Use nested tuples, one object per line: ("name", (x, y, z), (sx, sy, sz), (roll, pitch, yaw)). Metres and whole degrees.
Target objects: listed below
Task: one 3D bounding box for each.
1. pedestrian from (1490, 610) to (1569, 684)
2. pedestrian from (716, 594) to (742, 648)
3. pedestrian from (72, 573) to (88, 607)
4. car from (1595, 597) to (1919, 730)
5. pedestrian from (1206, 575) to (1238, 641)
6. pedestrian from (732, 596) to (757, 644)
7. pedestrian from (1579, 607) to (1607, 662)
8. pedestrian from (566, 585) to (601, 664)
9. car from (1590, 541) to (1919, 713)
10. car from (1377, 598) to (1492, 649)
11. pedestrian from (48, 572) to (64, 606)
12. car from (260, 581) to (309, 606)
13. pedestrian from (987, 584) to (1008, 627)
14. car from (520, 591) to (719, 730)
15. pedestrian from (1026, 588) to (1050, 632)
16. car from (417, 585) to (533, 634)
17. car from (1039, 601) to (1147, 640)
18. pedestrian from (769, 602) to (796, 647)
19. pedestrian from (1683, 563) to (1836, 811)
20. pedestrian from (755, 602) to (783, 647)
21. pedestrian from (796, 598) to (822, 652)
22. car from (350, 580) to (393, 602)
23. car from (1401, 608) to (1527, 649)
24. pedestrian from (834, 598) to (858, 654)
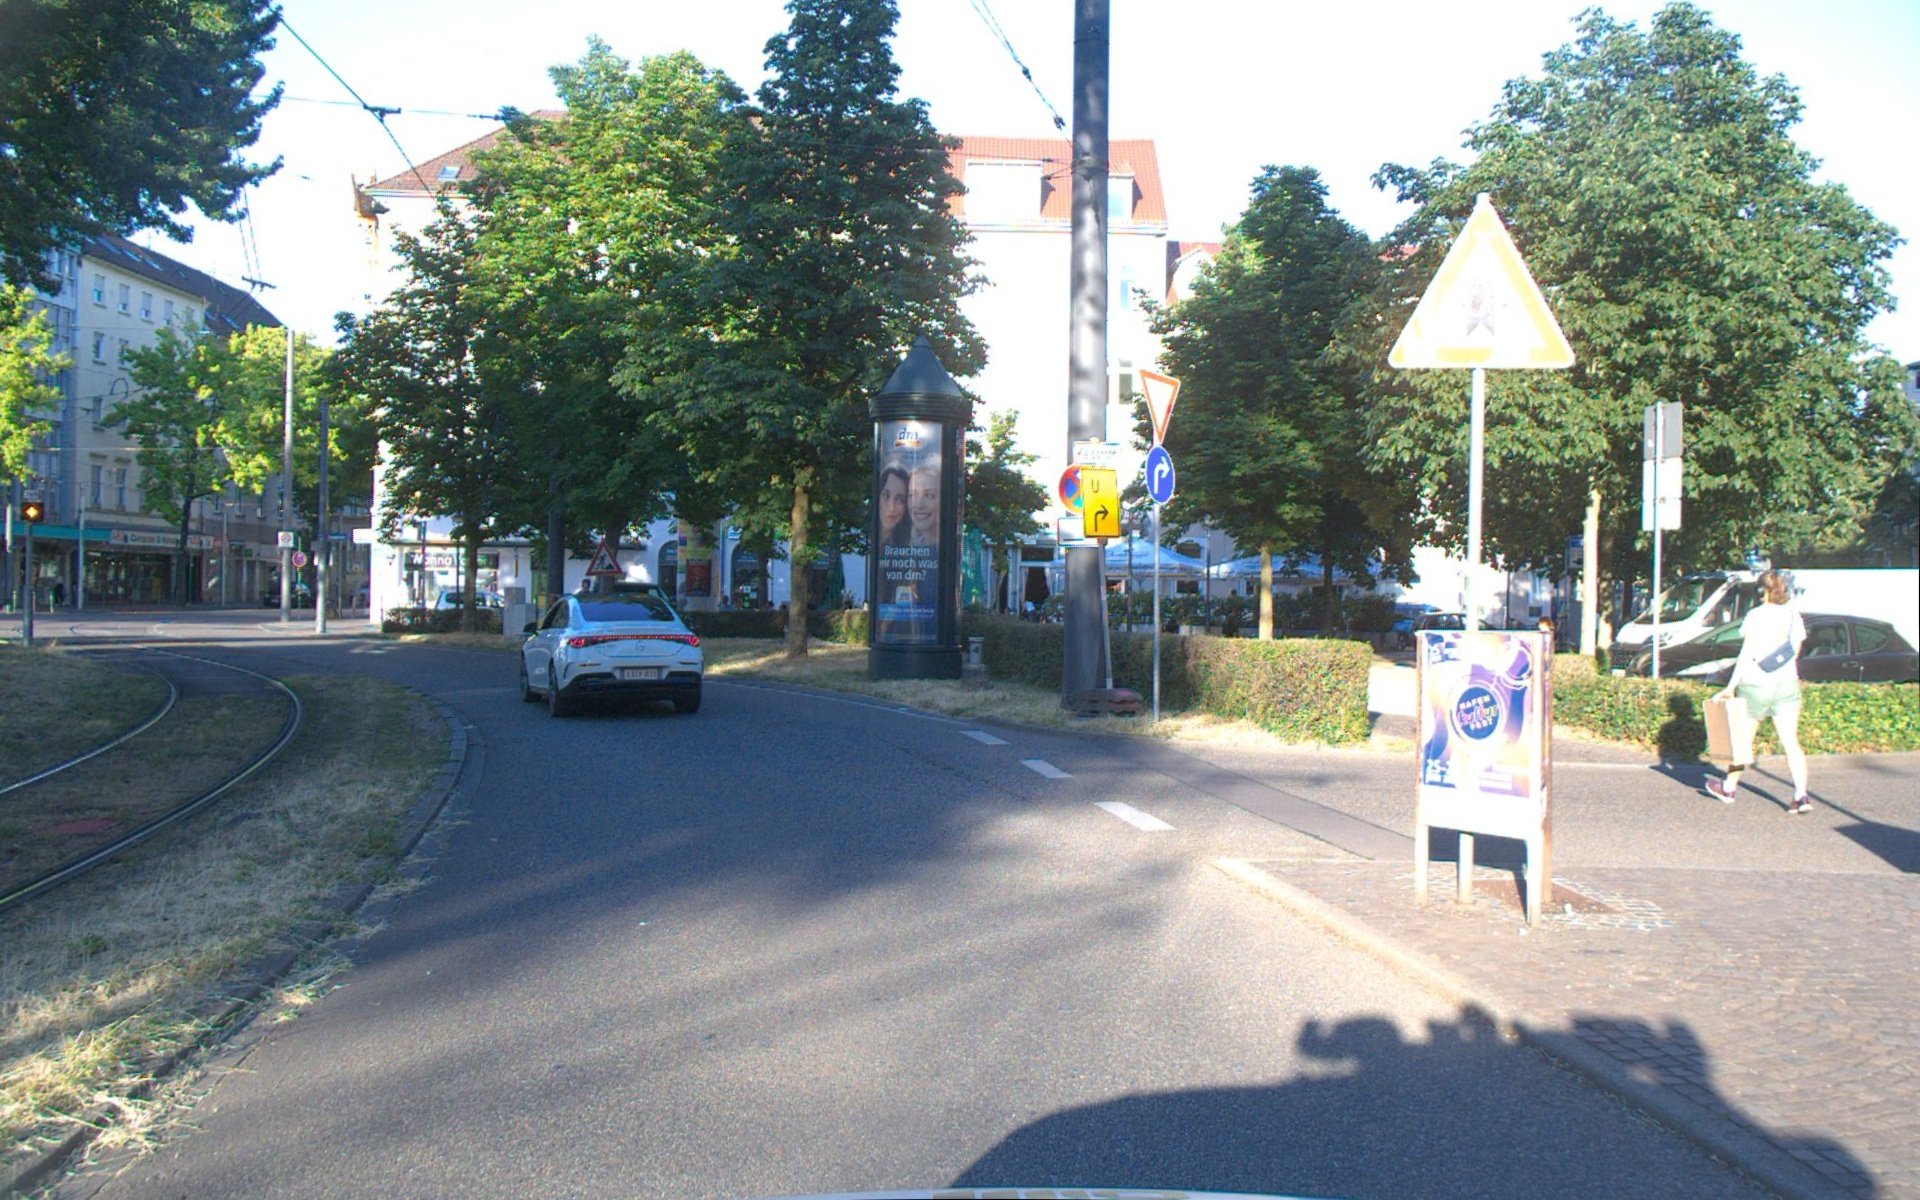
("pedestrian", (10.236, 0.836, 29.770), (1.075, 1.247, 0.860), (2, 0, -2))
("pedestrian", (-6.716, 0.604, 48.079), (0.522, 1.524, 0.660), (1, 0, 11))
("pedestrian", (-44.520, -0.503, 83.644), (0.469, 1.730, 0.541), (1, 0, 0))
("car", (10.660, 0.814, 21.715), (3.914, 1.579, 1.875), (2, 0, -10))
("pedestrian", (7.967, 0.229, 50.257), (0.913, 1.957, 0.858), (1, 0, 10))
("pedestrian", (-6.467, 0.596, 49.711), (0.522, 1.403, 0.660), (1, 0, 11))
("pedestrian", (24.310, 1.313, 63.512), (0.946, 2.049, 1.027), (1, 0, 23))
("pedestrian", (-7.681, 0.498, 33.727), (0.552, 1.594, 0.590), (2, 0, -22))
("car", (13.696, 0.447, 27.766), (5.401, 2.640, 2.154), (2, 0, -3))
("car", (18.281, 0.904, 63.874), (3.905, 1.813, 1.853), (2, 0, 1))
("pedestrian", (-45.718, -0.552, 83.637), (0.469, 1.730, 0.541), (1, 0, 0))
("car", (-42.425, -0.396, 103.940), (1.623, 1.502, 3.624), (2, 0, 0))
("pedestrian", (1.689, 0.255, 74.001), (0.837, 1.899, 0.935), (1, 0, -3))
("car", (-4.458, 0.676, 21.182), (1.838, 1.466, 4.171), (-2, 2, -21))
("pedestrian", (3.434, 0.444, 73.123), (0.915, 1.899, 0.856), (1, 0, -5))
("car", (-17.002, 0.326, 58.060), (3.538, 1.579, 1.662), (2, 0, 1))
("car", (4.989, 0.750, 62.407), (3.905, 1.324, 1.853), (2, 0, 1))
("pedestrian", (-5.596, 0.759, 52.075), (0.652, 1.376, 0.660), (1, 0, 12))
("pedestrian", (5.942, 0.616, 12.347), (0.841, 1.736, 0.942), (2, 0, 17))
("pedestrian", (-5.898, 0.757, 51.120), (0.652, 1.376, 0.660), (1, 0, 12))
("pedestrian", (-4.316, 0.711, 47.292), (0.522, 1.524, 0.660), (1, 0, 11))
("car", (-42.102, -0.613, 118.399), (1.622, 1.502, 3.625), (2, 0, 2))
("car", (17.891, 0.992, 58.795), (3.905, 1.324, 1.853), (2, 0, 1))
("pedestrian", (-3.300, 0.746, 47.919), (0.522, 1.576, 0.660), (1, 0, 11))
